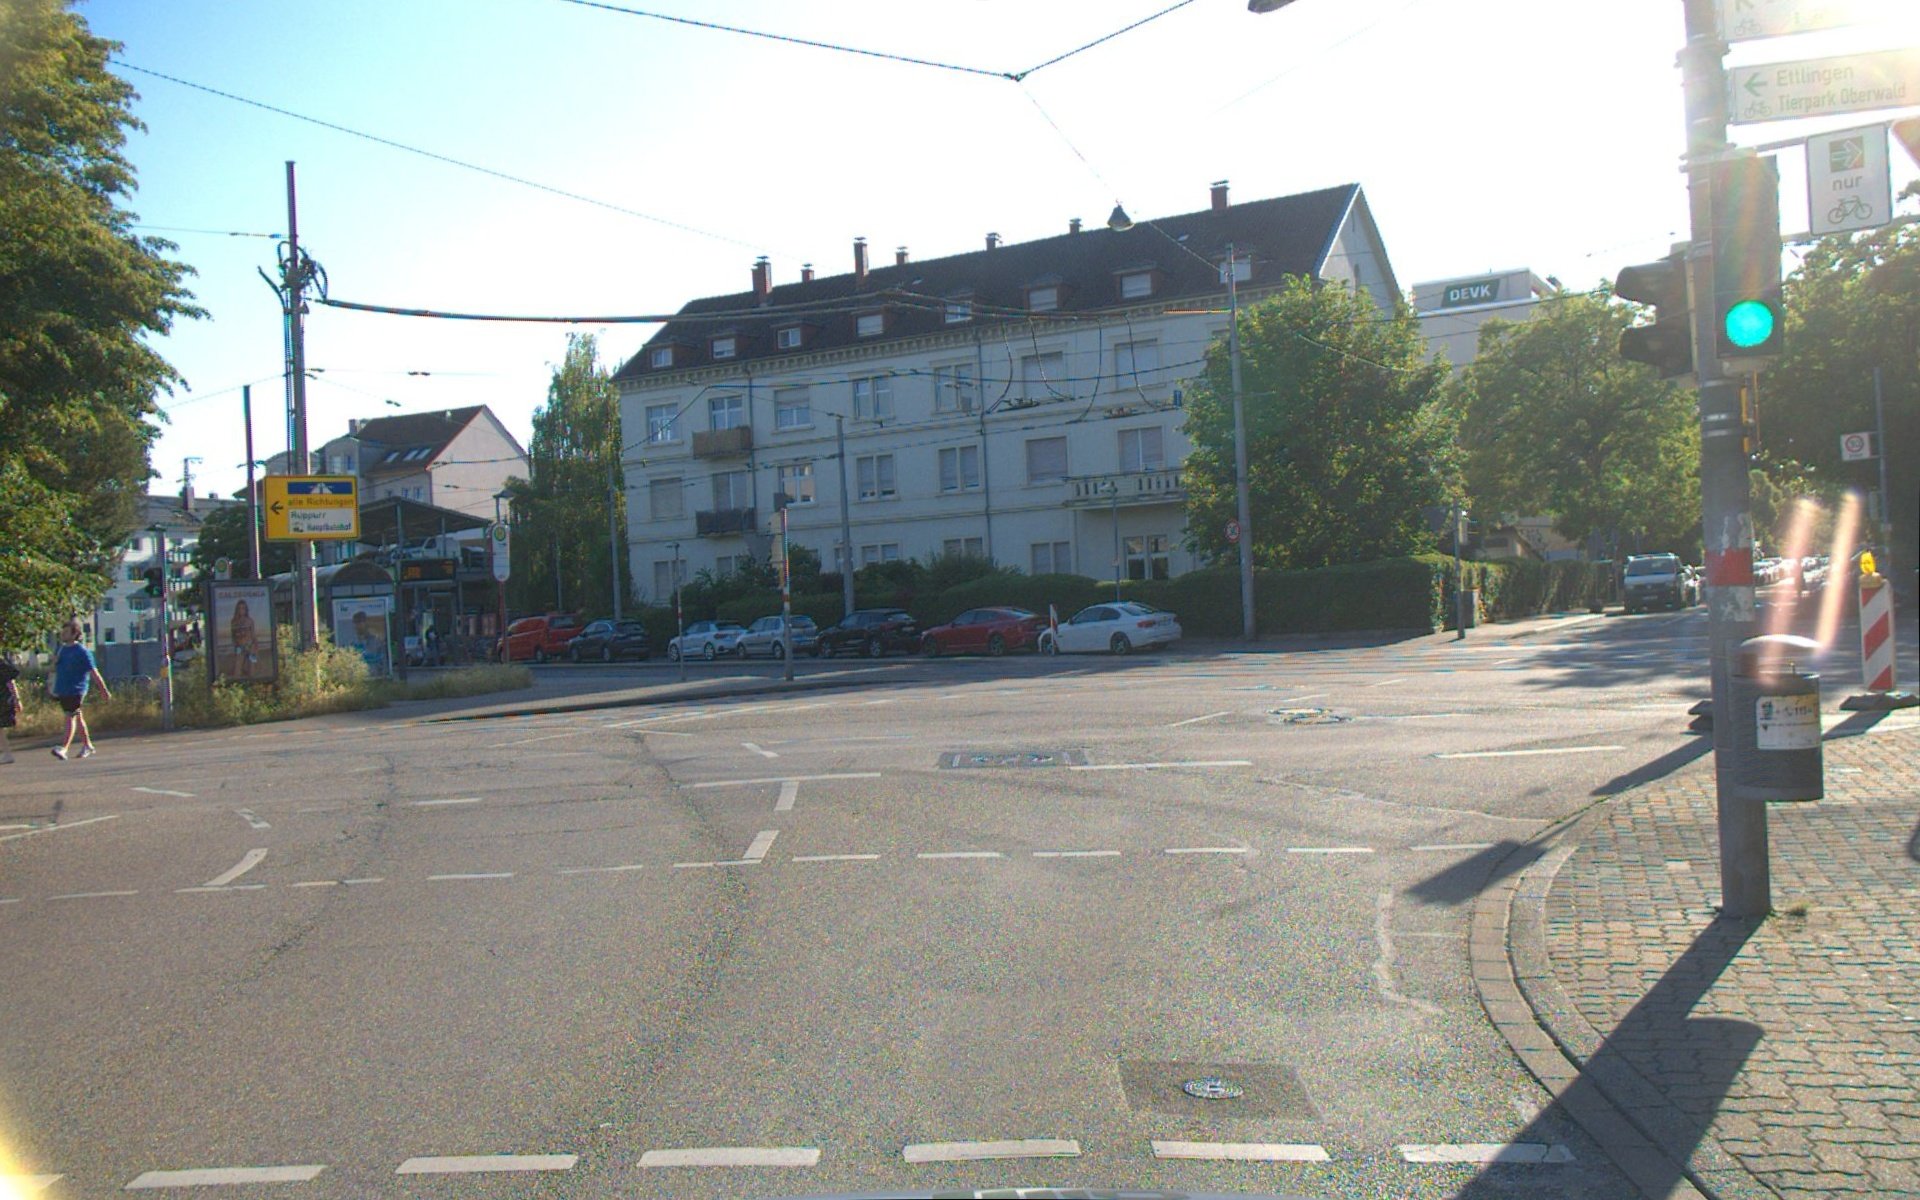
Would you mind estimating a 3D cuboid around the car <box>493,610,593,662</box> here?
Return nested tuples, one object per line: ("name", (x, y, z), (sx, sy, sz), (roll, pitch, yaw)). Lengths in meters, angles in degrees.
("car", (-18.159, 1.589, 71.907), (2.039, 1.995, 5.073), (-6, 2, -41))

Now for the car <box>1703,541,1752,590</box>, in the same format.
("car", (43.117, -1.950, 92.898), (2.308, 2.558, 5.305), (-3, 0, 26))

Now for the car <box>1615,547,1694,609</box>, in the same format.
("car", (25.349, -0.815, 60.290), (2.308, 2.049, 5.305), (-3, 0, 26))

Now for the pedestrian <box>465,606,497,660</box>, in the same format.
("pedestrian", (-18.854, 1.305, 65.140), (0.914, 2.049, 0.759), (-3, -1, -37))

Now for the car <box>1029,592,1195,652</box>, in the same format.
("car", (4.199, 0.634, 46.136), (1.916, 1.400, 4.426), (-6, 2, -43))

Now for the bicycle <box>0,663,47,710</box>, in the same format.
("bicycle", (-23.751, 2.173, 40.995), (0.647, 1.087, 2.020), (-3, 0, 18))

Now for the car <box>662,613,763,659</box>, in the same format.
("car", (-9.173, 1.331, 61.170), (1.830, 1.472, 3.899), (-6, 2, -41))

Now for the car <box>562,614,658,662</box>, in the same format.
("car", (-14.189, 1.542, 66.927), (1.830, 1.696, 4.304), (-6, 2, -41))

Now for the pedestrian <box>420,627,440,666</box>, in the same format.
("pedestrian", (-21.159, 1.853, 66.044), (0.560, 1.527, 0.672), (-3, 0, -29))

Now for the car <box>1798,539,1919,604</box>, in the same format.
("car", (31.343, -0.968, 55.624), (5.510, 1.958, 2.360), (-3, -2, 26))

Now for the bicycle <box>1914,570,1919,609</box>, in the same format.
("bicycle", (24.732, -0.307, 41.136), (1.691, 0.949, 0.561), (-3, 0, 29))

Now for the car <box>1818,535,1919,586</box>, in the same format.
("car", (40.819, -1.763, 73.073), (4.990, 1.958, 2.360), (-3, -2, 26))

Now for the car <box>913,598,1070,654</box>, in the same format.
("car", (0.914, 0.816, 50.080), (4.625, 1.400, 1.974), (-3, 2, 44))

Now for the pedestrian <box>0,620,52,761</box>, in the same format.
("pedestrian", (-12.502, 1.171, 21.402), (0.894, 1.777, 1.066), (-3, 0, -6))

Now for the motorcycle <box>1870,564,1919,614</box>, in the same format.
("motorcycle", (22.934, -0.293, 39.547), (1.912, 1.128, 0.837), (-3, -1, 24))

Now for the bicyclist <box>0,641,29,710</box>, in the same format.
("bicyclist", (-23.754, 1.877, 41.033), (0.654, 1.681, 0.887), (-3, 0, 19))

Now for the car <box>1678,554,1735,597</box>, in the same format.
("car", (35.646, -1.178, 78.926), (2.308, 1.826, 5.305), (-3, 0, 26))

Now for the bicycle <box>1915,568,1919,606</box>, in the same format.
("bicycle", (24.372, -0.362, 40.458), (1.691, 0.949, 0.561), (-3, 0, 29))

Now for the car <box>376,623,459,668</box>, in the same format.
("car", (-27.186, 2.312, 82.744), (2.039, 1.995, 5.073), (-6, 2, -41))

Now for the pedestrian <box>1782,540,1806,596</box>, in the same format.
("pedestrian", (28.461, -1.092, 56.456), (0.648, 1.871, 0.682), (-3, 0, 28))

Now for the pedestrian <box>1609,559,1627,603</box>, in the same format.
("pedestrian", (27.119, -0.776, 68.167), (0.567, 1.761, 0.608), (-3, 0, 23))

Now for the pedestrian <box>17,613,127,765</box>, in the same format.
("pedestrian", (-12.061, 1.184, 22.497), (0.894, 1.958, 1.066), (-3, 0, -6))

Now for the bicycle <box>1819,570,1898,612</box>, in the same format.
("bicycle", (22.773, -0.225, 41.936), (1.691, 0.949, 0.671), (-3, 0, 29))

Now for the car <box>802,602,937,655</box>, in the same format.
("car", (-3.030, 0.963, 54.528), (1.970, 1.472, 4.634), (-6, 2, -41))

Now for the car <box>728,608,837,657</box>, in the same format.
("car", (-6.209, 1.140, 57.723), (1.970, 1.472, 3.663), (-6, 2, -41))

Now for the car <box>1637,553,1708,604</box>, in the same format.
("car", (28.351, -0.859, 65.715), (2.308, 1.826, 5.305), (-3, 0, 26))
